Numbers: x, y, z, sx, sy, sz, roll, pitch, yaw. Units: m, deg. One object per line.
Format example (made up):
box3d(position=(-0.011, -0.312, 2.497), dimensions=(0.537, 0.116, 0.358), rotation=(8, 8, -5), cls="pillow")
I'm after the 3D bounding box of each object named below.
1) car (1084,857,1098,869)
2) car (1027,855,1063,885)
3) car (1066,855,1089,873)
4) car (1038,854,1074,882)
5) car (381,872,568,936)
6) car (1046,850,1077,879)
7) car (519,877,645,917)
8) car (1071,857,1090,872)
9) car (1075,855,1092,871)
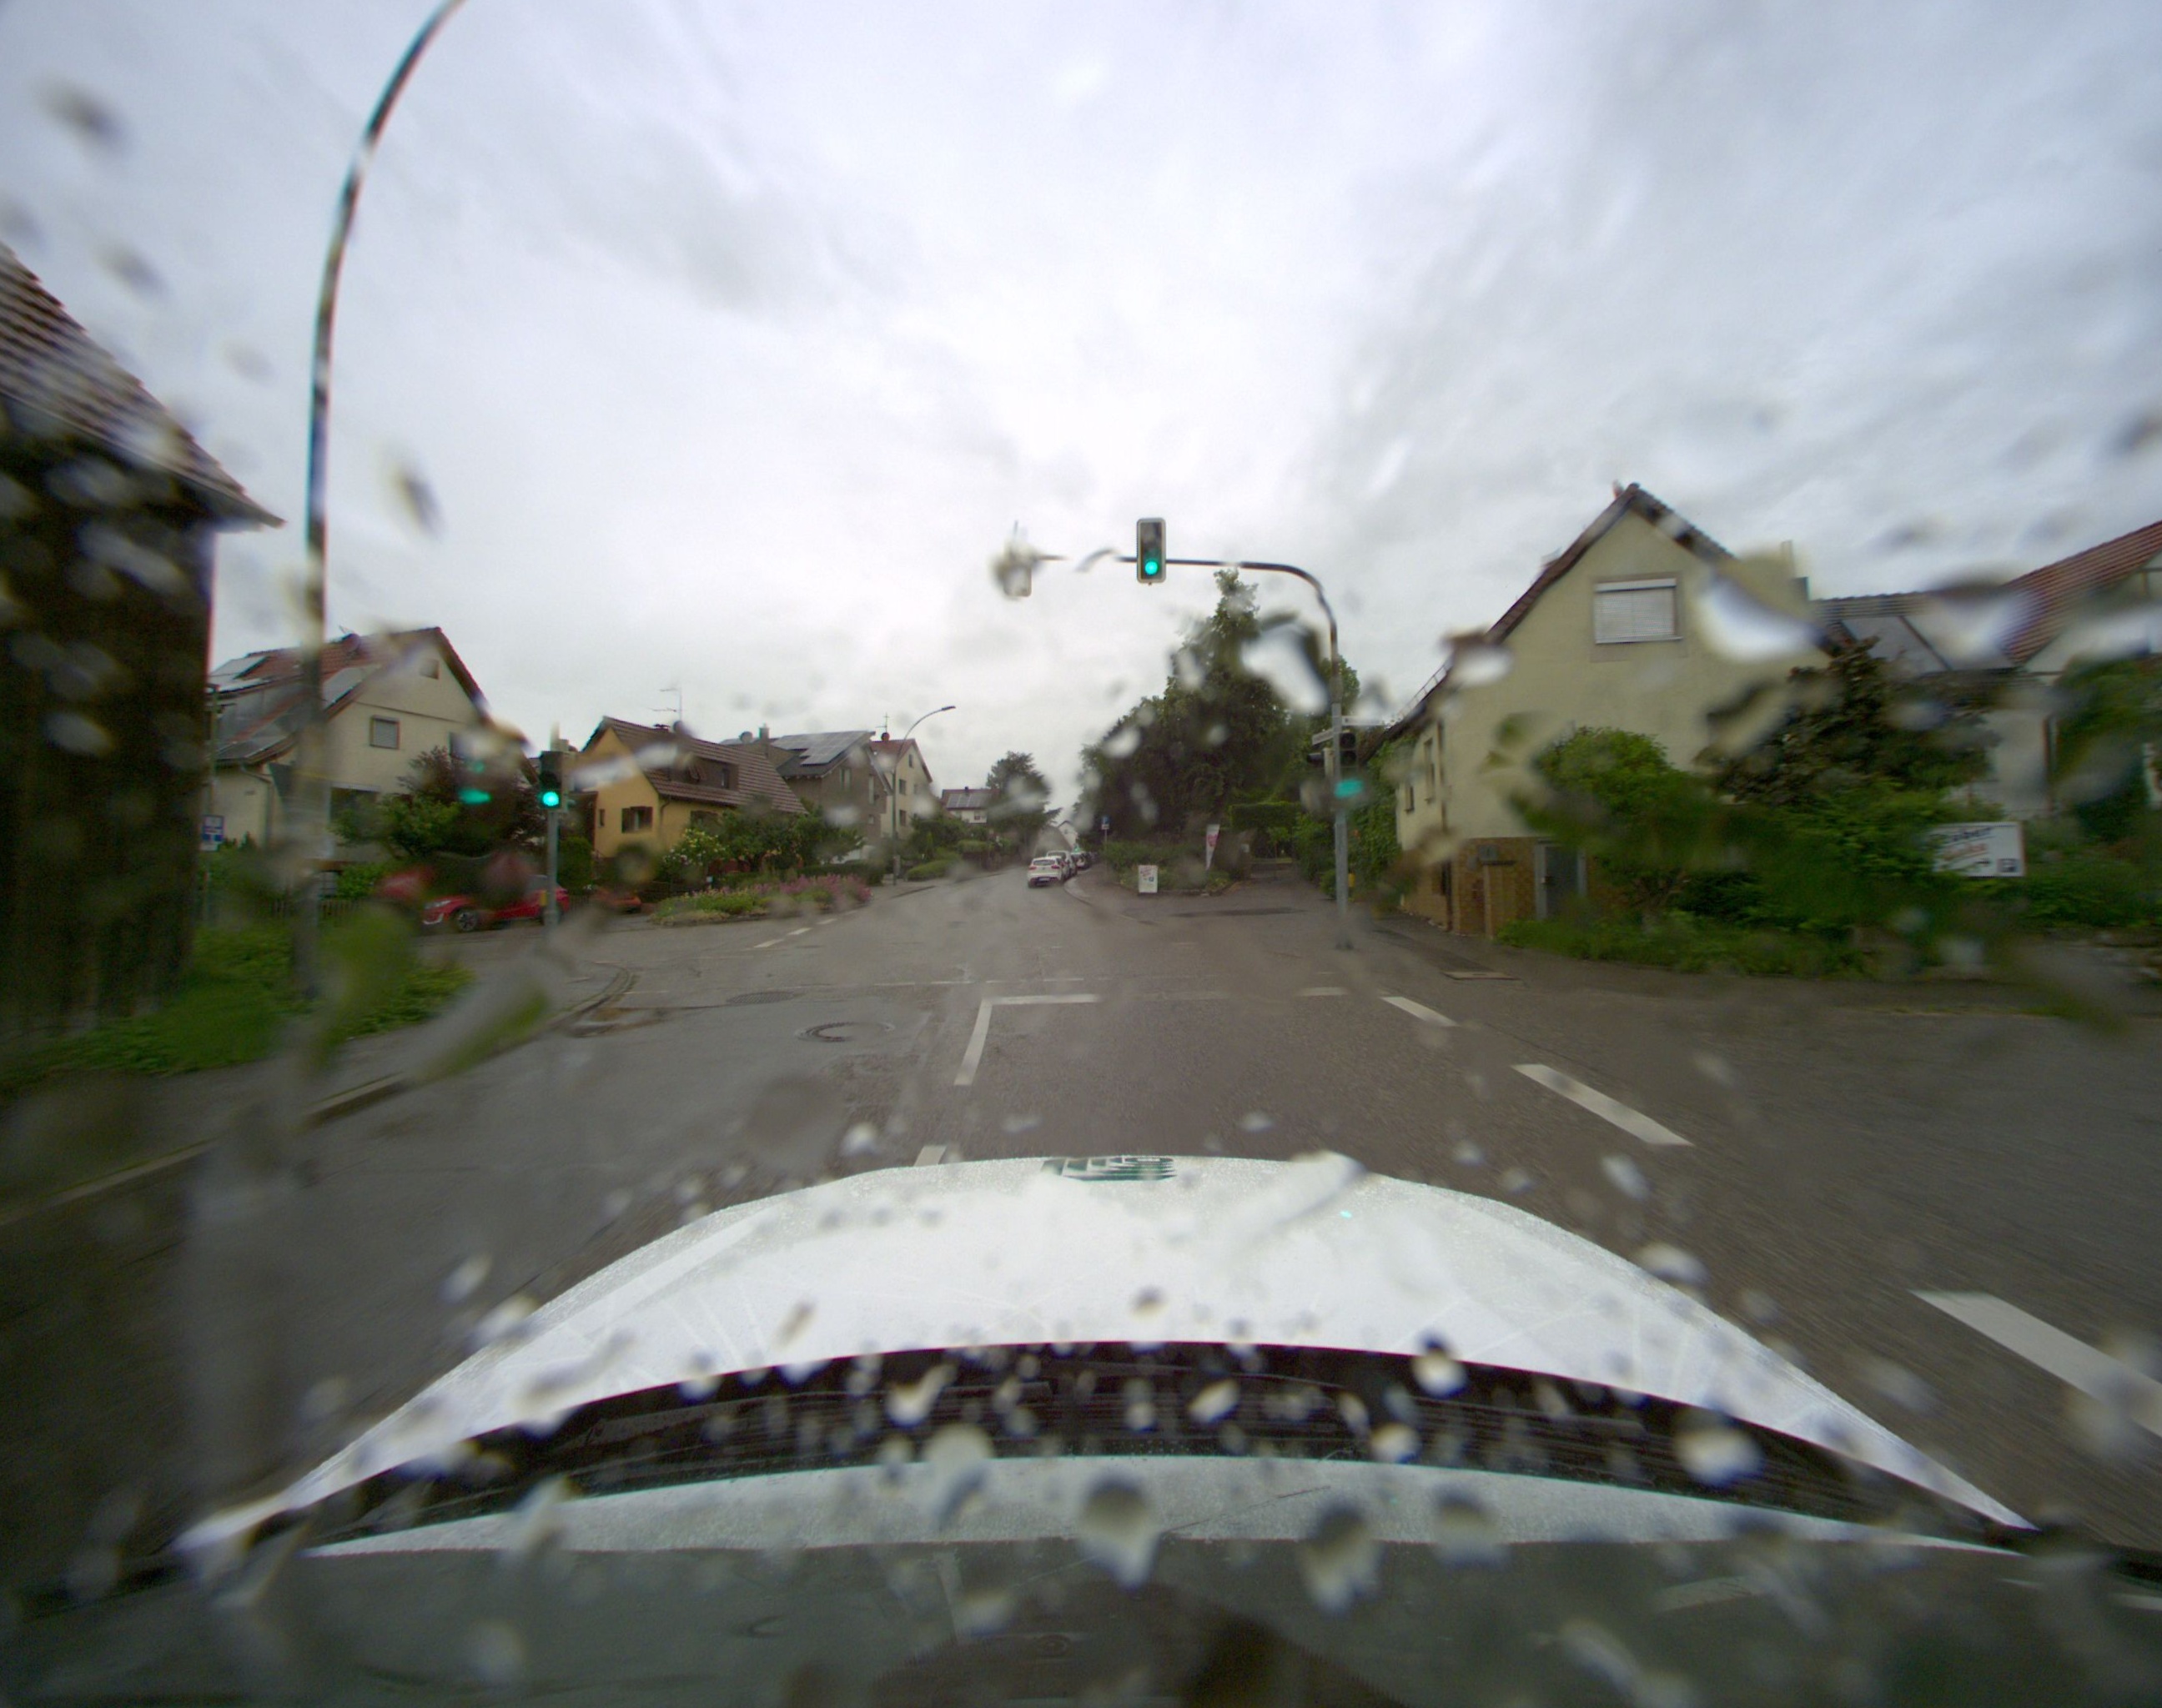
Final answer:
box3d(position=(1.254, 1.092, 101.100), dimensions=(1.646, 1.371, 4.182), rotation=(-2, 0, 1), cls="car")
box3d(position=(-1.798, 0.805, 42.203), dimensions=(1.606, 1.480, 4.038), rotation=(-1, 0, 1), cls="car")
box3d(position=(-0.300, 0.946, 74.920), dimensions=(1.806, 1.573, 3.884), rotation=(-2, -1, 4), cls="car")
box3d(position=(-1.395, 0.785, 47.048), dimensions=(1.638, 1.462, 4.005), rotation=(-1, 1, 4), cls="car")
box3d(position=(-17.301, 1.378, 23.486), dimensions=(1.735, 1.562, 4.037), rotation=(-2, 0, 17), cls="car")
box3d(position=(-1.247, 0.669, 53.011), dimensions=(1.630, 1.741, 4.139), rotation=(-1, -1, 3), cls="car")
box3d(position=(-19.021, 1.619, 31.068), dimensions=(3.956, 1.383, 1.871), rotation=(-2, 0, 16), cls="car")
box3d(position=(-0.058, 1.061, 80.952), dimensions=(1.758, 1.447, 4.696), rotation=(-2, -1, 1), cls="car")
box3d(position=(0.260, 0.971, 87.391), dimensions=(1.736, 1.668, 4.498), rotation=(-2, -1, 1), cls="car")
